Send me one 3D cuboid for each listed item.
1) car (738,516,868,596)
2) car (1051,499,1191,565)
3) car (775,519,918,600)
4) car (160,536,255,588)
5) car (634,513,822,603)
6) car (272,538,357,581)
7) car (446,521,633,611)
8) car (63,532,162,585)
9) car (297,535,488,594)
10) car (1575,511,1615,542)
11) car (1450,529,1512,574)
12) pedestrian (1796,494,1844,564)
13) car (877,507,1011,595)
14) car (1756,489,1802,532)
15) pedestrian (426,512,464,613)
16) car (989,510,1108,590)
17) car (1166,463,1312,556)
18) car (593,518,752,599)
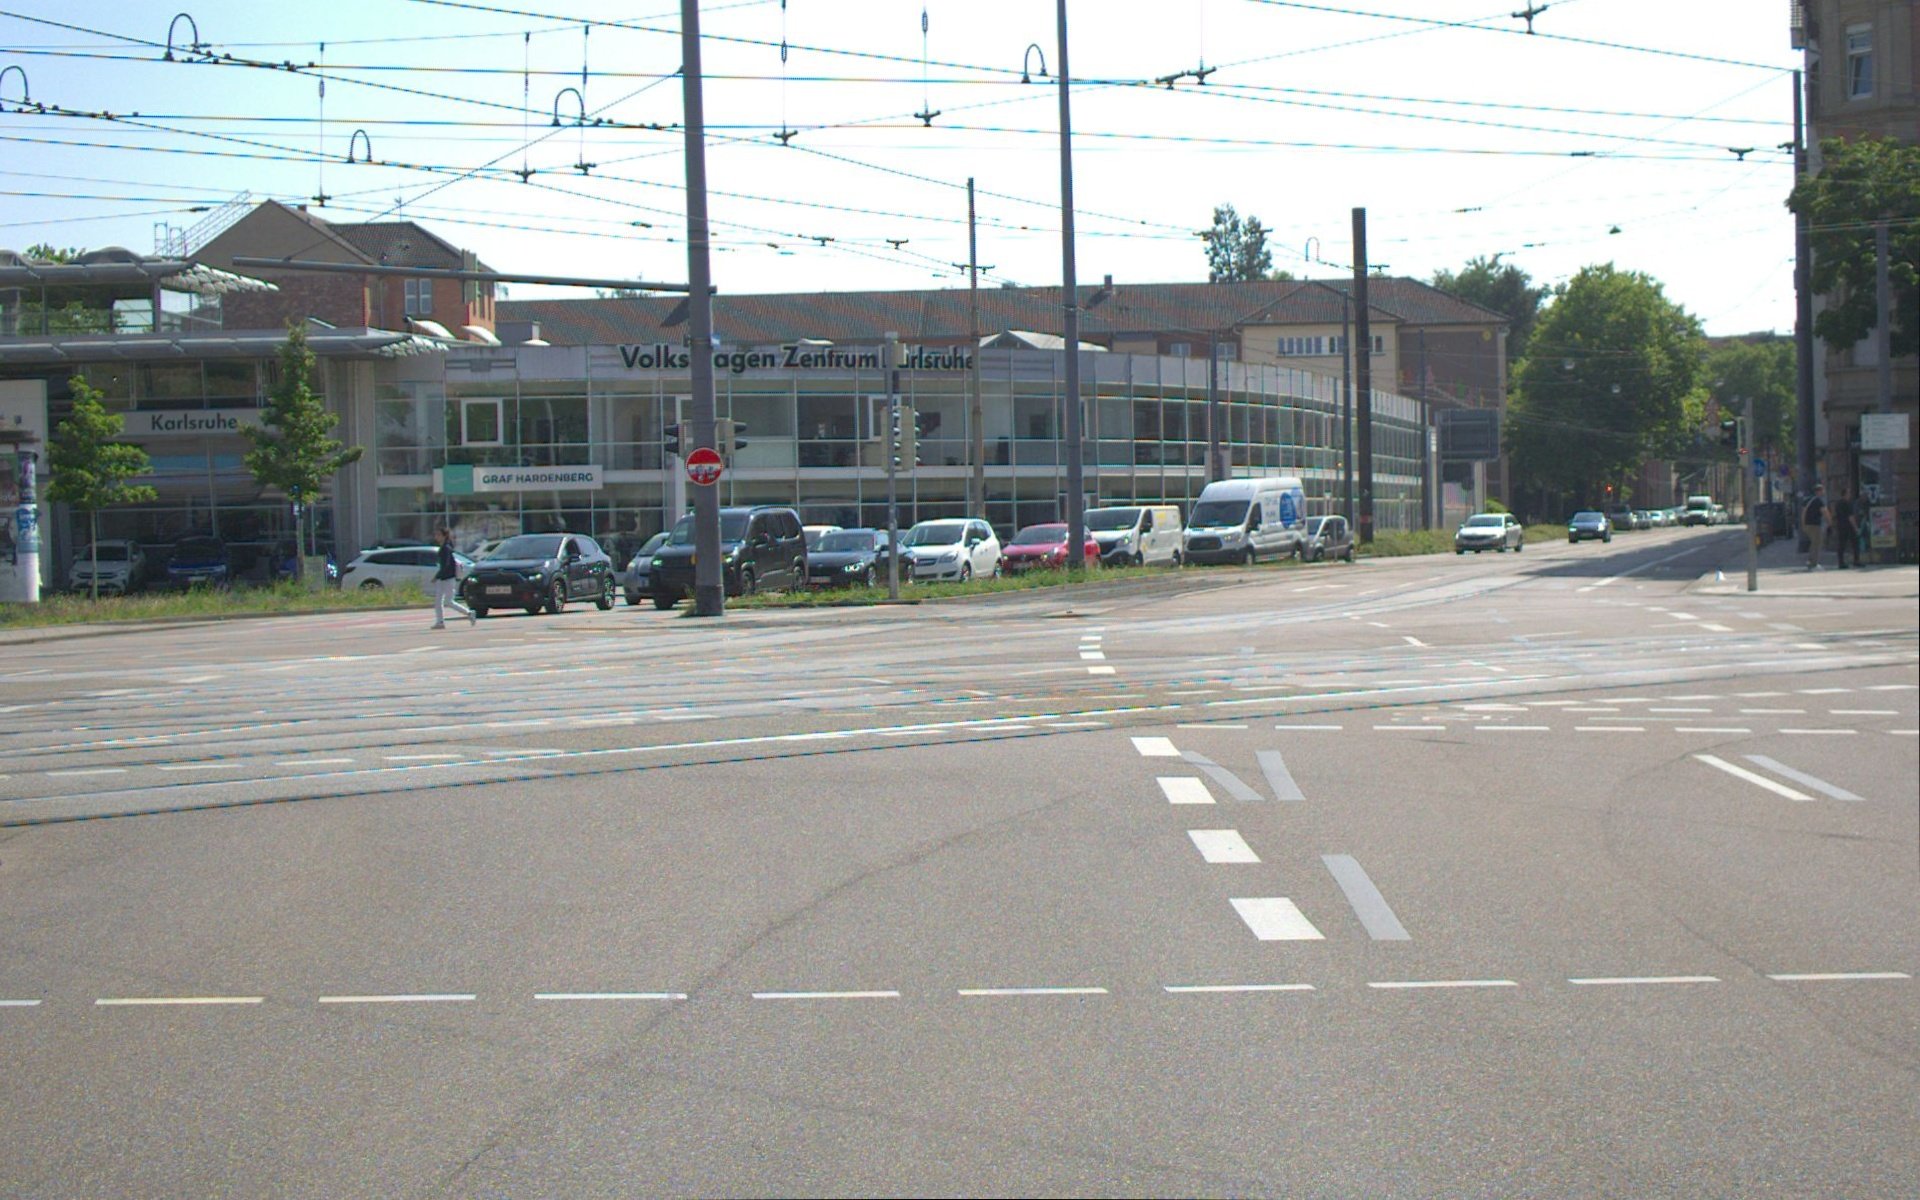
[{"bbox_3d":[-3.535,-0.986,78.114,1.653,1.733,4.197,-1,0,17],"label":"car"},{"bbox_3d":[4.358,-1.838,92.340,2.188,1.675,5.024,-1,1,22],"label":"car"},{"bbox_3d":[-2.312,-0.825,71.143,1.895,1.582,3.997,-1,0,14],"label":"car"},{"bbox_3d":[-21.936,-1.118,100.360,1.993,1.481,4.000,1,1,-2],"label":"car"},{"bbox_3d":[-4.312,-0.823,64.592,1.962,1.582,4.713,-1,1,17],"label":"car"},{"bbox_3d":[-18.743,-1.188,99.971,1.830,1.191,4.000,1,1,-2],"label":"car"},{"bbox_3d":[-7.776,-0.621,63.983,1.893,1.582,4.207,-1,0,17],"label":"car"},{"bbox_3d":[-24.720,-1.212,100.387,1.993,1.481,4.000,1,1,-2],"label":"car"},{"bbox_3d":[-14.498,-0.919,87.836,4.587,1.431,1.443,1,0,13],"label":"car"},{"bbox_3d":[29.785,-3.445,161.301,1.385,1.409,3.010,1,1,19],"label":"car"},{"bbox_3d":[19.124,-1.777,126.036,1.386,1.619,3.335,1,1,24],"label":"car"},{"bbox_3d":[17.951,-1.482,71.769,0.612,1.428,0.712,0,0,-38],"label":"pedestrian"},{"bbox_3d":[-0.337,-1.090,78.434,1.896,1.910,4.197,-1,0,17],"label":"car"},{"bbox_3d":[39.420,-4.288,165.354,2.110,2.007,3.998,-1,1,14],"label":"car"},{"bbox_3d":[-8.242,-0.604,55.025,0.453,1.599,0.400,1,0,-36],"label":"pedestrian"},{"bbox_3d":[2.214,-1.215,85.265,1.896,1.910,4.197,-1,0,17],"label":"car"},{"bbox_3d":[8.139,-2.588,99.703,2.211,2.566,5.867,1,1,26],"label":"car"},{"bbox_3d":[-5.880,-0.831,70.792,1.896,1.582,3.997,-1,0,17],"label":"car"}]
